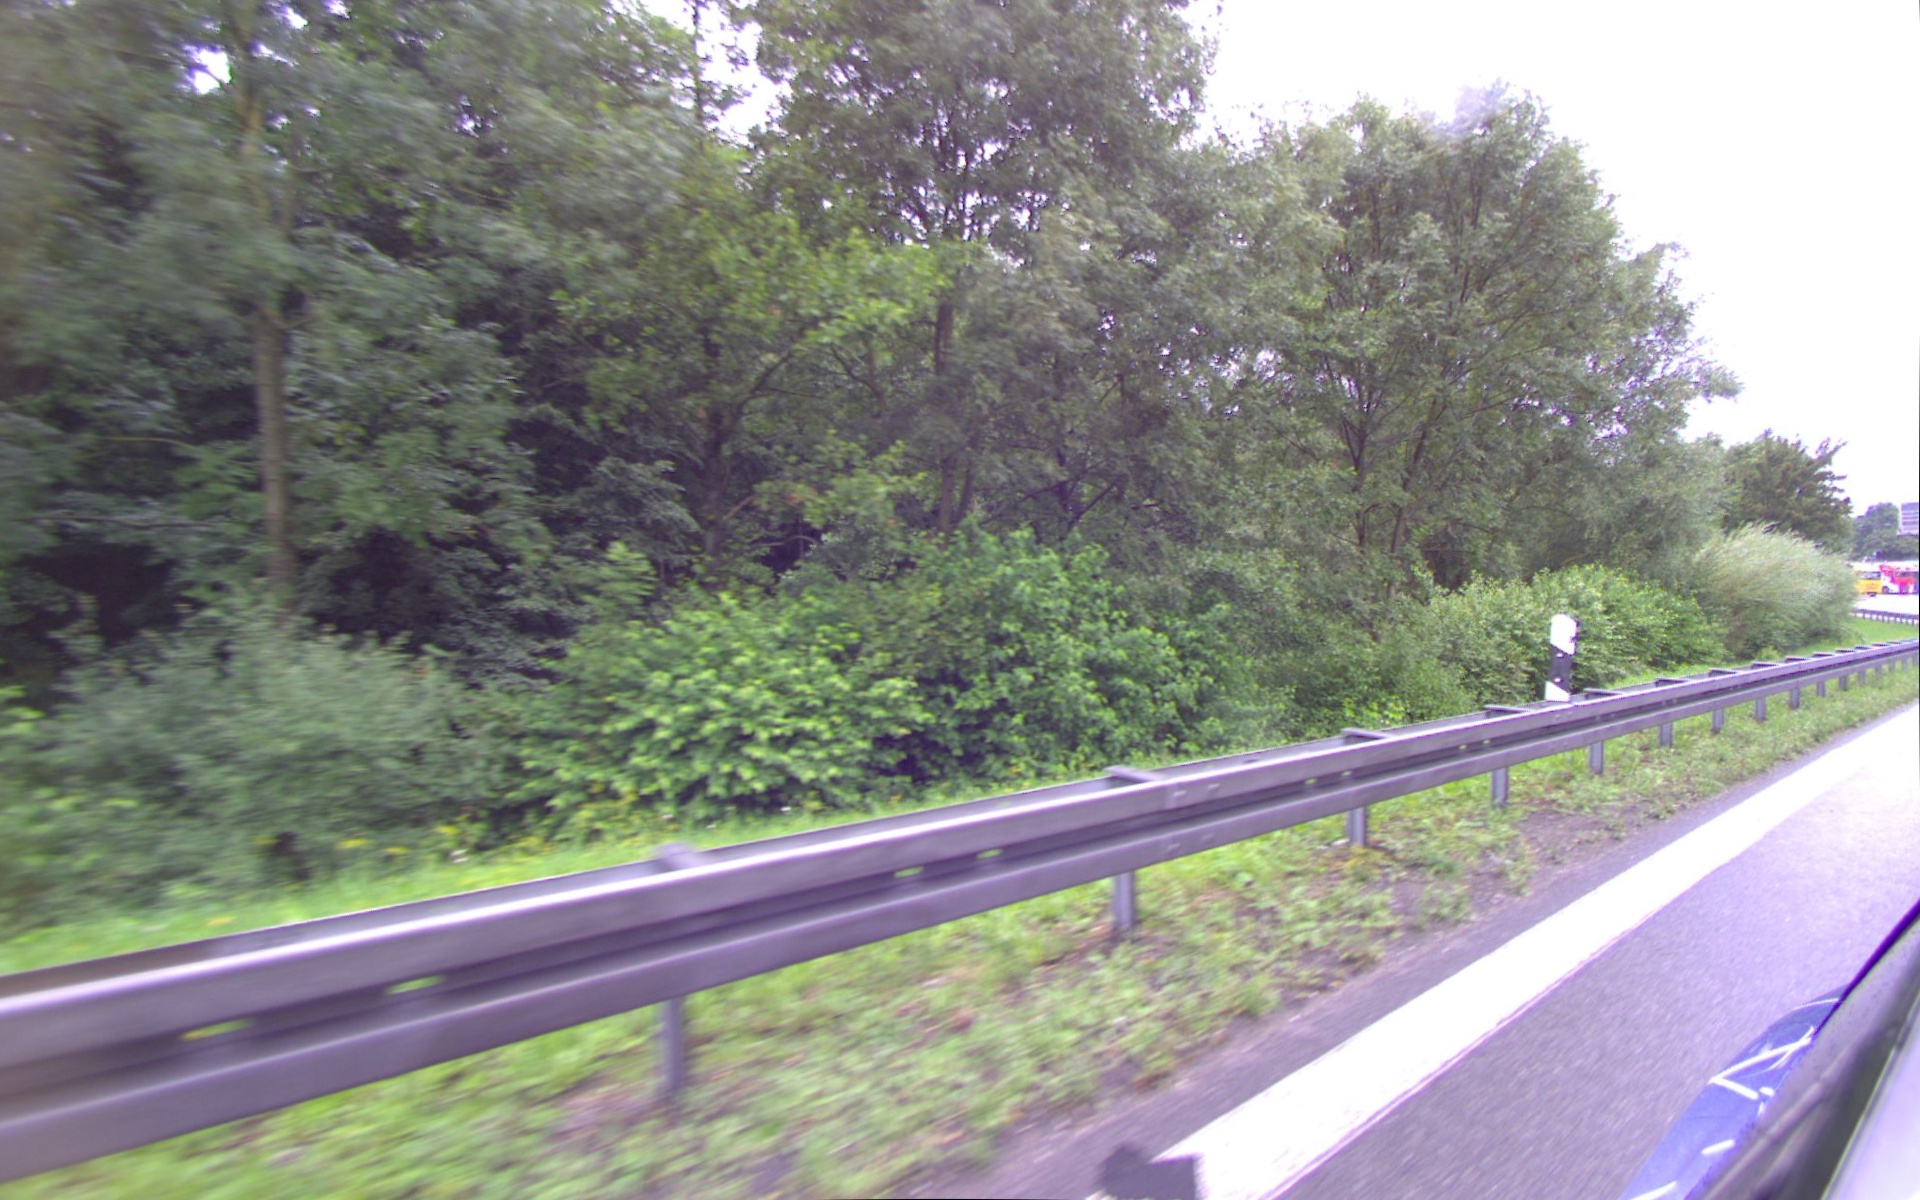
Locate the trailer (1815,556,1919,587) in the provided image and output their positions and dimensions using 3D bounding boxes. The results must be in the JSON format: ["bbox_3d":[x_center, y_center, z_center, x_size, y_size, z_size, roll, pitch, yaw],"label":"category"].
[{"bbox_3d":[123.575,-3.931,137.788,3.190,3.967,14.812,0,2,6],"label":"trailer"}]

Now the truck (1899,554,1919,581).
[{"bbox_3d":[144.357,-4.830,150.111,3.190,4.141,7.928,0,2,6],"label":"truck"}]

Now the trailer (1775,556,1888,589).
[{"bbox_3d":[112.243,-3.597,130.841,2.822,3.967,16.595,0,2,9],"label":"trailer"}]

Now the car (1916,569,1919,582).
[{"bbox_3d":[139.822,-3.508,145.233,1.818,1.881,3.991,-1,1,9],"label":"car"}]

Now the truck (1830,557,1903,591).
[{"bbox_3d":[111.138,-3.245,124.269,2.795,3.967,8.110,0,2,10],"label":"truck"}]

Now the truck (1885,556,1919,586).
[{"bbox_3d":[126.769,-3.854,134.122,2.849,3.967,6.547,0,2,6],"label":"truck"}]

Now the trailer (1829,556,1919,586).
[{"bbox_3d":[127.452,-4.142,140.505,2.826,3.967,13.918,0,2,6],"label":"trailer"}]

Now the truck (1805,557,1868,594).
[{"bbox_3d":[97.388,-2.752,112.528,2.784,3.961,5.400,0,1,8],"label":"truck"}]

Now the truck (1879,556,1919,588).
[{"bbox_3d":[122.833,-3.650,131.090,3.190,3.967,5.015,0,2,6],"label":"truck"}]
